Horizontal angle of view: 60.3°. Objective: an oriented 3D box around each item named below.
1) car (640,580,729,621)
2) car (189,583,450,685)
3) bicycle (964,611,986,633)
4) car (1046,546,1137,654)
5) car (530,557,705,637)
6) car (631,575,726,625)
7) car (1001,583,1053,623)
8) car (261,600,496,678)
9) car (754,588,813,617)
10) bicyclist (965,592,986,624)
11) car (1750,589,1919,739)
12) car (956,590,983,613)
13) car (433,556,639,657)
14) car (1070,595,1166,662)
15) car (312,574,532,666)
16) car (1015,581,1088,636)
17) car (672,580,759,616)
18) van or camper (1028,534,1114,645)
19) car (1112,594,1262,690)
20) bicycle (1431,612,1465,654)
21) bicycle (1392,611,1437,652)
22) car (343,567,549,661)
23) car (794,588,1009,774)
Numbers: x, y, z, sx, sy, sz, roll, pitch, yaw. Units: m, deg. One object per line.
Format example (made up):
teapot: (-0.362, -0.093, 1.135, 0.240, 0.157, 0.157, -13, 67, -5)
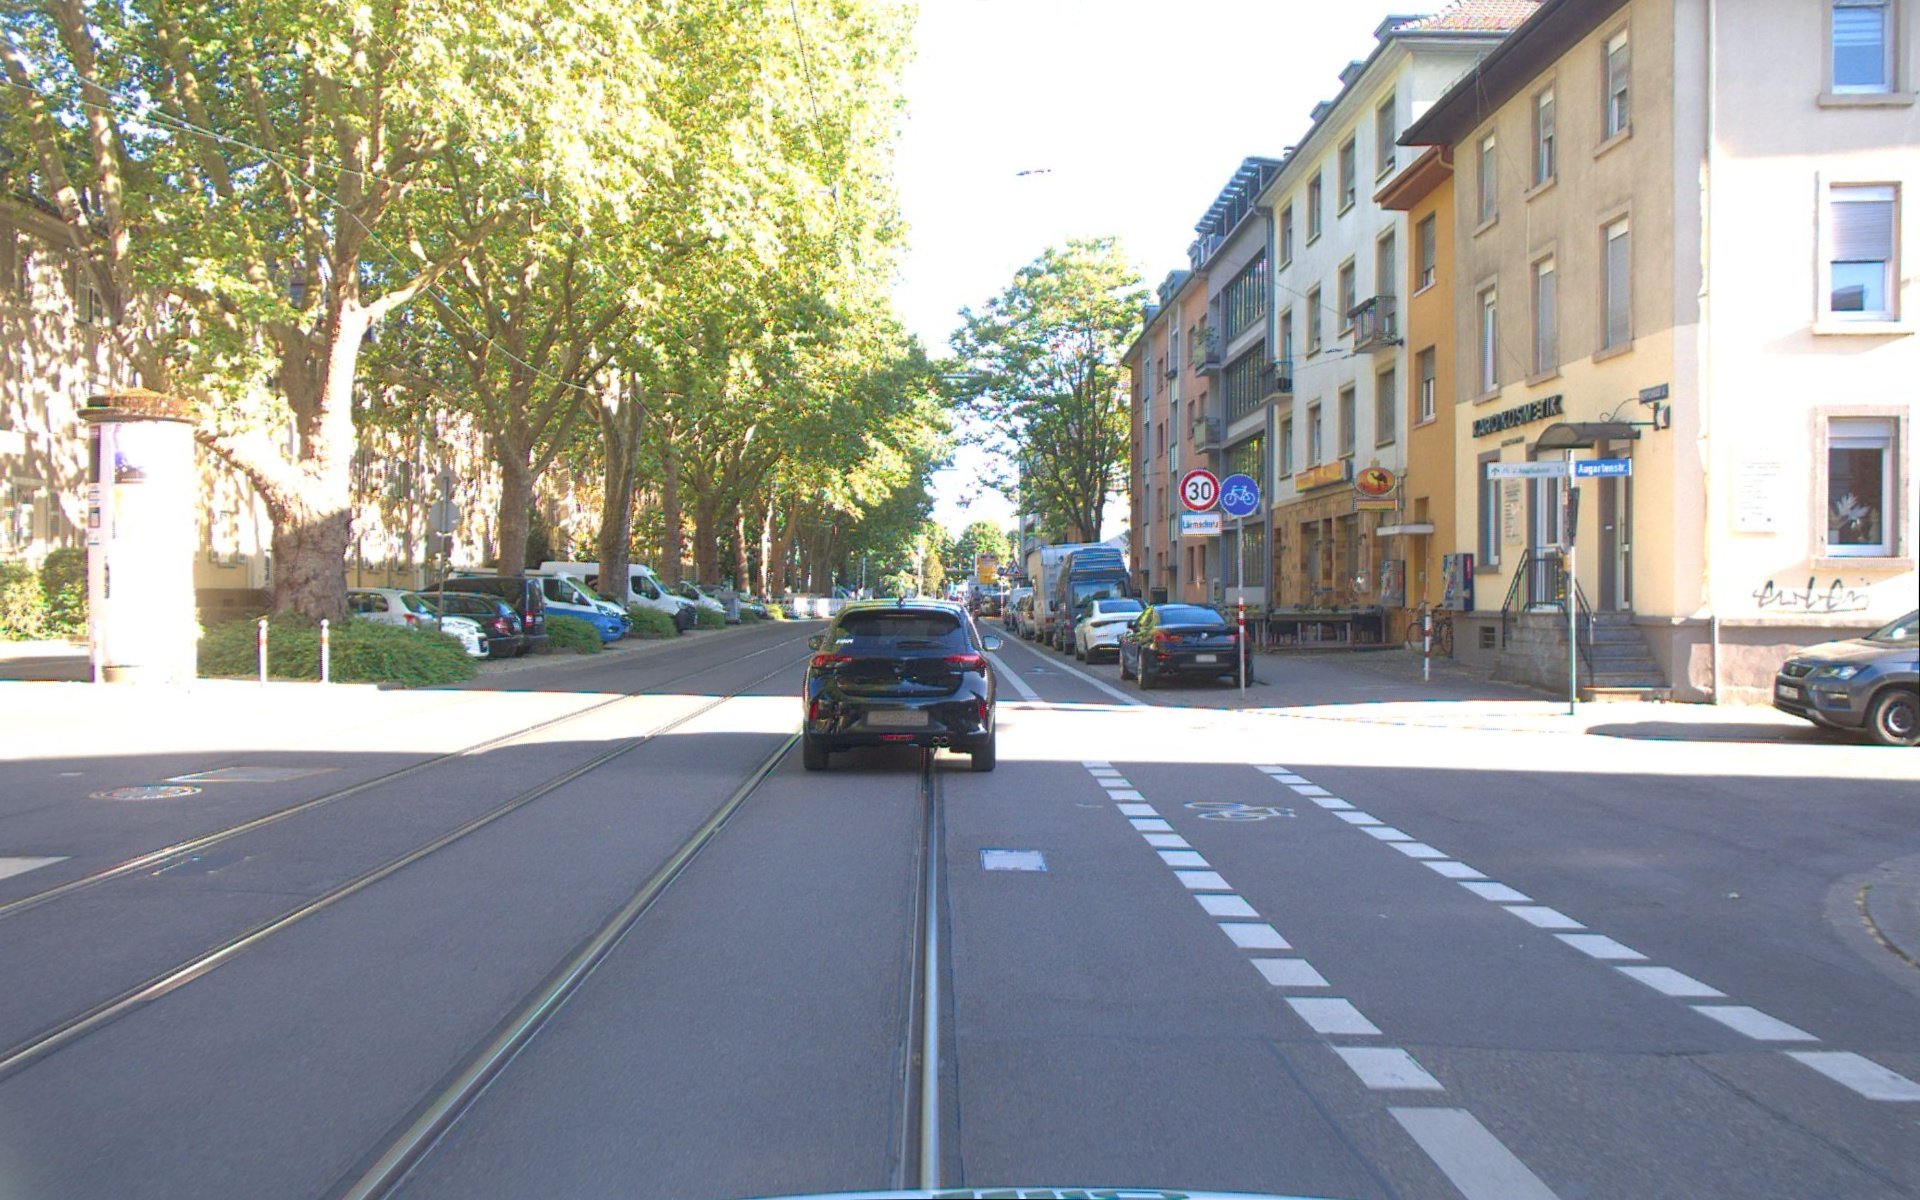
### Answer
car: (-13.057, 0.009, 78.476, 4.100, 1.825, 1.995, 1, 0, -10)
car: (-12.020, 0.617, 31.271, 4.220, 1.621, 1.779, -3, 0, -9)
bicycle: (0.724, 1.067, 80.473, 0.948, 1.016, 2.582, 1, 0, -2)
car: (3.570, -0.029, 45.830, 2.043, 2.820, 4.696, -1, 1, -1)
car: (-11.893, -0.107, 57.635, 5.521, 2.638, 2.197, 1, 0, 3)
car: (-12.042, -0.010, 70.759, 3.914, 2.049, 1.995, 1, 0, -10)
car: (3.235, 0.136, 80.783, 2.208, 1.873, 5.530, -1, 0, -1)
car: (-11.817, 0.778, 33.861, 4.220, 1.313, 1.707, -3, 0, -9)
car: (-12.775, 0.181, 120.159, 3.903, 2.049, 2.001, 1, 0, 5)
bicyclist: (0.736, 0.363, 80.453, 0.939, 1.525, 1.093, 1, 0, -2)
car: (11.582, 0.725, 19.006, 4.100, 1.626, 1.891, 1, 0, 3)
car: (0.782, 0.123, 141.926, 2.208, 1.873, 5.530, -1, 0, -1)
car: (-11.459, 0.168, 44.928, 4.934, 2.415, 2.081, -3, 0, -1)
car: (3.633, 0.659, 38.626, 1.767, 1.459, 3.999, -1, -1, -1)
car: (-11.593, 0.428, 35.900, 4.220, 1.703, 1.779, -3, 0, -9)
car: (3.229, 0.288, 59.586, 2.208, 1.873, 5.530, -1, 0, -1)
car: (-12.415, -0.104, 83.898, 4.275, 1.694, 1.995, 1, 0, -10)
van or camper: (3.441, -0.323, 52.392, 2.208, 3.272, 5.530, -1, 0, -1)
car: (3.822, 0.661, 28.535, 1.846, 1.459, 4.529, -2, 0, -1)
bicycle: (9.824, 0.653, 33.358, 0.464, 0.803, 1.793, 1, 0, 11)
bicycle: (9.470, 0.644, 34.532, 0.401, 0.803, 1.791, 1, 0, -1)
car: (-11.795, 0.308, 38.225, 4.220, 1.873, 1.779, -3, 0, -9)
car: (-0.501, 0.663, 15.481, 1.727, 1.486, 3.950, 1, 0, -1)
